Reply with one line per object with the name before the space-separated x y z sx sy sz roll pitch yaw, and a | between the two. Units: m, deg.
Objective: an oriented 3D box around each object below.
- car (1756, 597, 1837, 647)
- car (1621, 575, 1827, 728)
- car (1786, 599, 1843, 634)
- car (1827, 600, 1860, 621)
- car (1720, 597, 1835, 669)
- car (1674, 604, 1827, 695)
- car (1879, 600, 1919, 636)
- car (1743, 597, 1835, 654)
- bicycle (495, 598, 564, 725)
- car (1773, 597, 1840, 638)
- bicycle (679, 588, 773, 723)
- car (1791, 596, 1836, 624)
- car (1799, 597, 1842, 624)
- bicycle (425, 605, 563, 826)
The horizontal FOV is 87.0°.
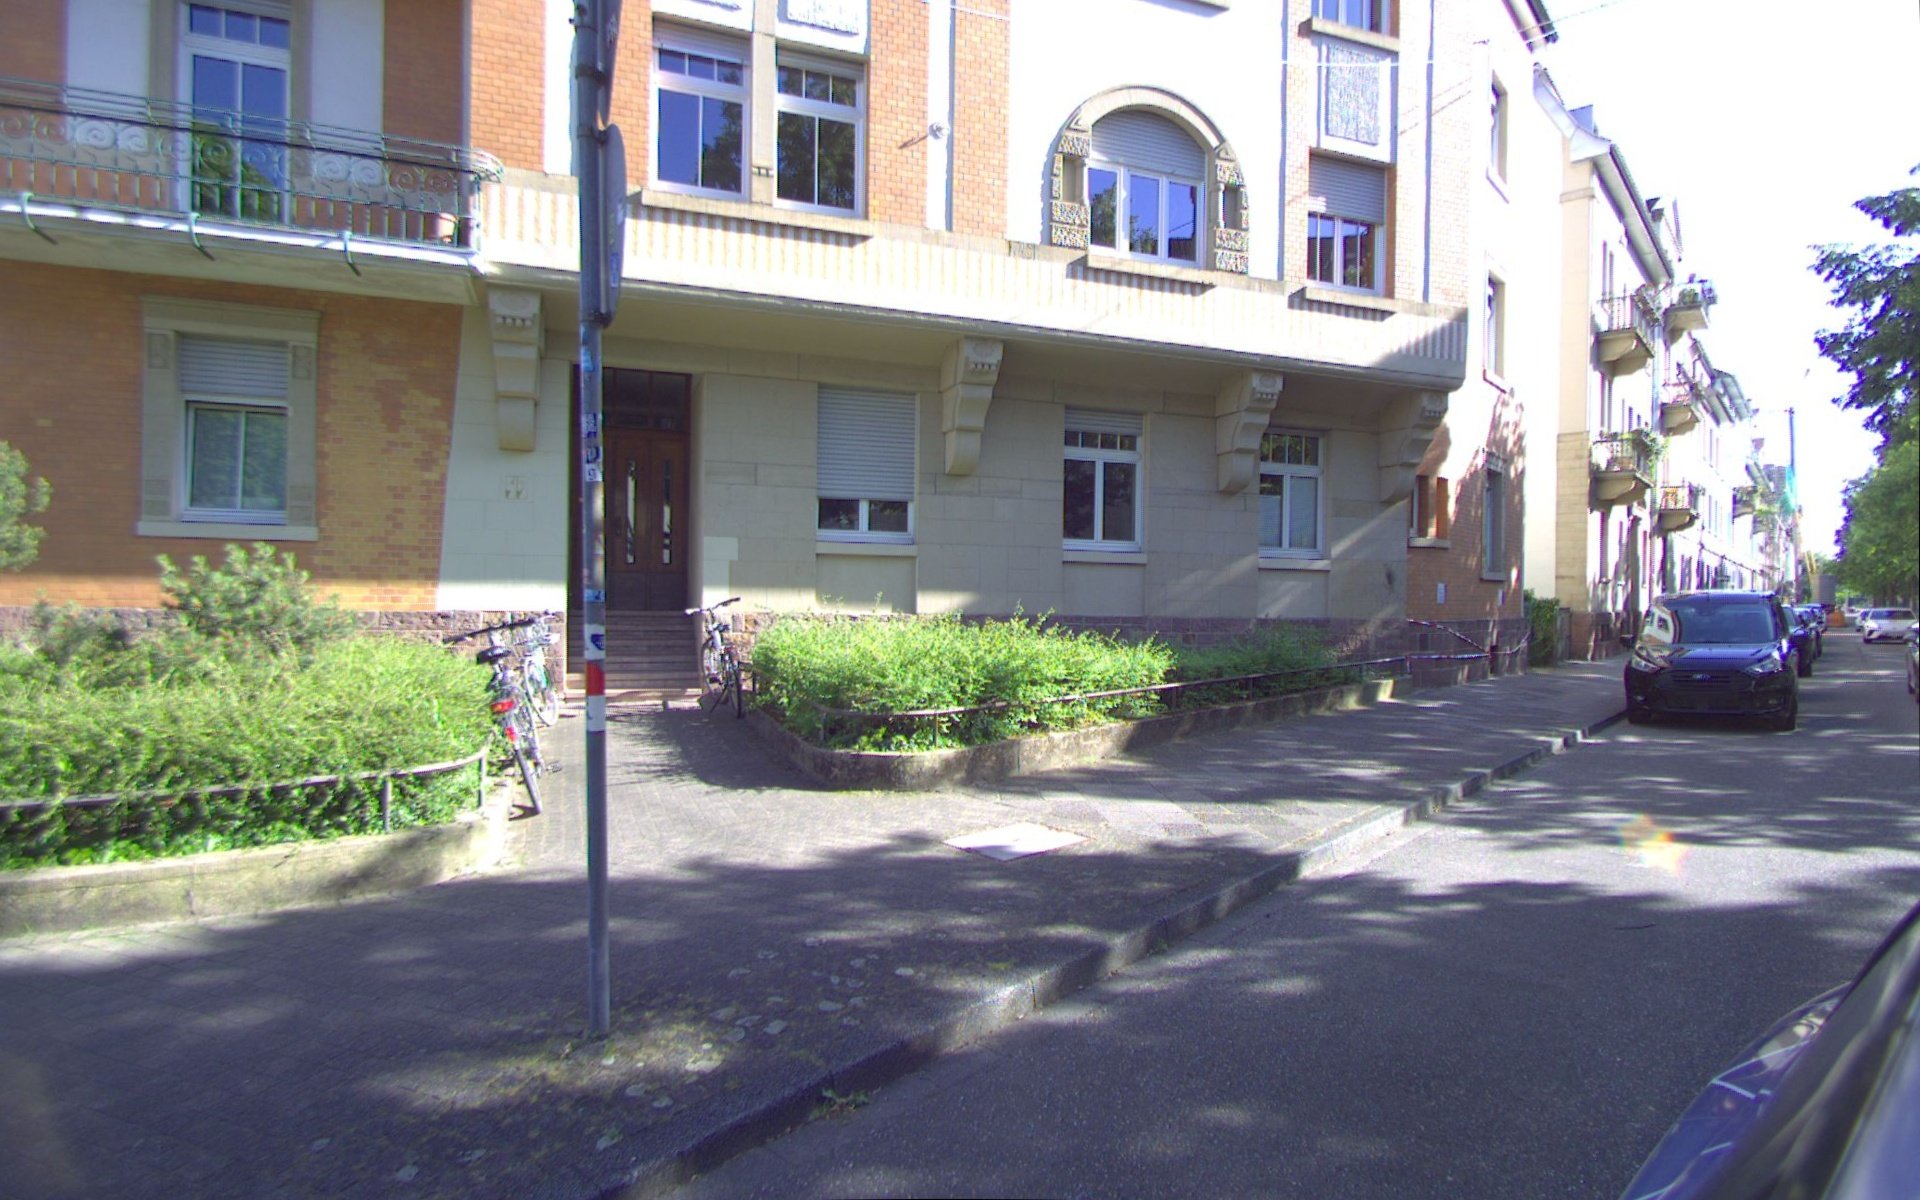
car | 27.918 0.721 33.743 1.792 1.576 4.142 -2 -2 43
car | 10.662 0.638 14.008 1.792 1.790 4.142 -2 -2 43
car | 40.749 0.776 48.232 1.792 1.576 4.142 -2 -2 43
car | 70.428 0.833 80.632 1.792 1.576 4.142 -2 -2 43
car | 19.637 0.755 24.248 1.792 1.576 4.142 -2 -2 43
car | 14.465 0.829 18.436 1.792 1.472 4.142 -2 -2 43
car | 40.014 0.727 42.648 1.792 1.453 4.142 0 -1 44
car | 24.526 0.735 29.882 1.792 1.576 4.142 -2 -2 43
bicycle | -4.188 0.552 9.915 0.489 1.085 1.678 1 1 -19
car | 34.140 0.702 40.799 1.792 1.576 4.142 -2 -2 43
bicycle | -2.434 0.509 10.376 0.583 1.227 1.804 1 1 -24
car | 50.310 0.611 59.627 1.792 1.576 4.142 -2 -2 43
car | 53.727 0.661 63.145 1.792 1.576 4.142 -2 -2 43
bicycle | -2.955 0.631 6.494 0.674 1.135 1.947 1 1 -23
